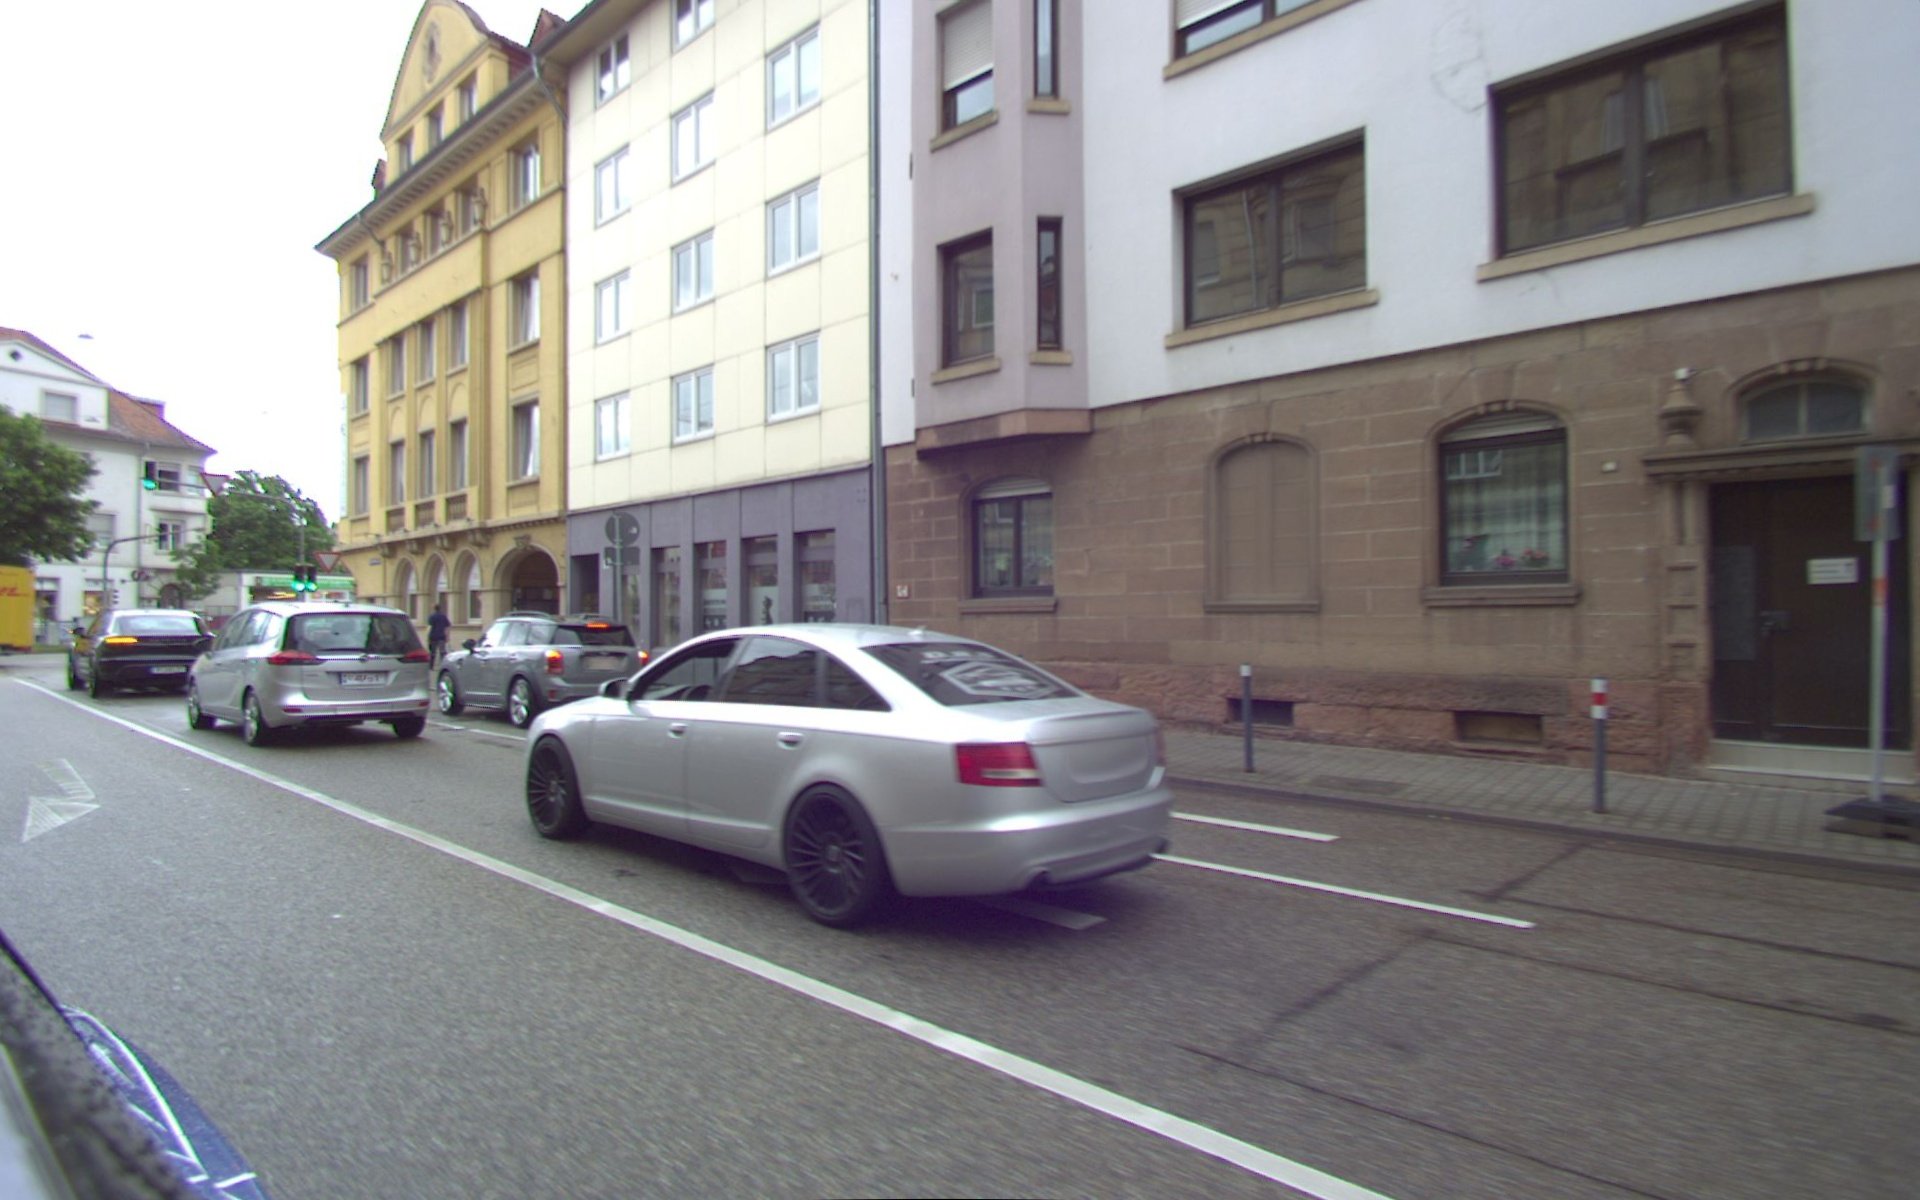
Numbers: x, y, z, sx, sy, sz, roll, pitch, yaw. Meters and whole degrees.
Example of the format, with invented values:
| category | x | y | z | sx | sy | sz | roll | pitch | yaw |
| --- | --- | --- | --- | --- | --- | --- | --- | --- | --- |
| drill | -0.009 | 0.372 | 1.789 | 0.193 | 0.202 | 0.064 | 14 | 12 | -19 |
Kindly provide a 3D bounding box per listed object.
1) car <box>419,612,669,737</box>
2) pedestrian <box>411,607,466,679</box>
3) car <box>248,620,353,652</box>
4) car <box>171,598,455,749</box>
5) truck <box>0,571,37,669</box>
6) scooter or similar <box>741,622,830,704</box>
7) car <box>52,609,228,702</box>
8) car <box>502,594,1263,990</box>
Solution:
| category | x | y | z | sx | sy | sz | roll | pitch | yaw |
| --- | --- | --- | --- | --- | --- | --- | --- | --- | --- |
| car | -6.388 | 0.997 | 15.297 | 1.958 | 1.607 | 4.340 | 2 | -2 | -45 |
| pedestrian | -13.601 | 1.097 | 26.405 | 1.032 | 1.784 | 0.884 | -1 | 2 | 40 |
| car | -33.203 | 1.806 | 51.063 | 2.012 | 1.529 | 4.007 | 0 | -1 | 23 |
| car | -8.380 | 0.809 | 12.935 | 4.520 | 1.595 | 1.922 | -1 | -2 | 42 |
| truck | -30.658 | 0.555 | 29.521 | 6.963 | 2.771 | 2.223 | 0 | -1 | 17 |
| scooter or similar | -2.815 | 0.982 | 16.237 | 1.578 | 1.222 | 0.456 | -1 | 3 | 41 |
| car | -16.003 | 0.994 | 19.677 | 4.604 | 1.595 | 1.922 | -1 | -2 | 42 |
| car | -0.755 | 0.754 | 6.051 | 4.558 | 1.481 | 1.922 | -1 | -2 | 42 |
